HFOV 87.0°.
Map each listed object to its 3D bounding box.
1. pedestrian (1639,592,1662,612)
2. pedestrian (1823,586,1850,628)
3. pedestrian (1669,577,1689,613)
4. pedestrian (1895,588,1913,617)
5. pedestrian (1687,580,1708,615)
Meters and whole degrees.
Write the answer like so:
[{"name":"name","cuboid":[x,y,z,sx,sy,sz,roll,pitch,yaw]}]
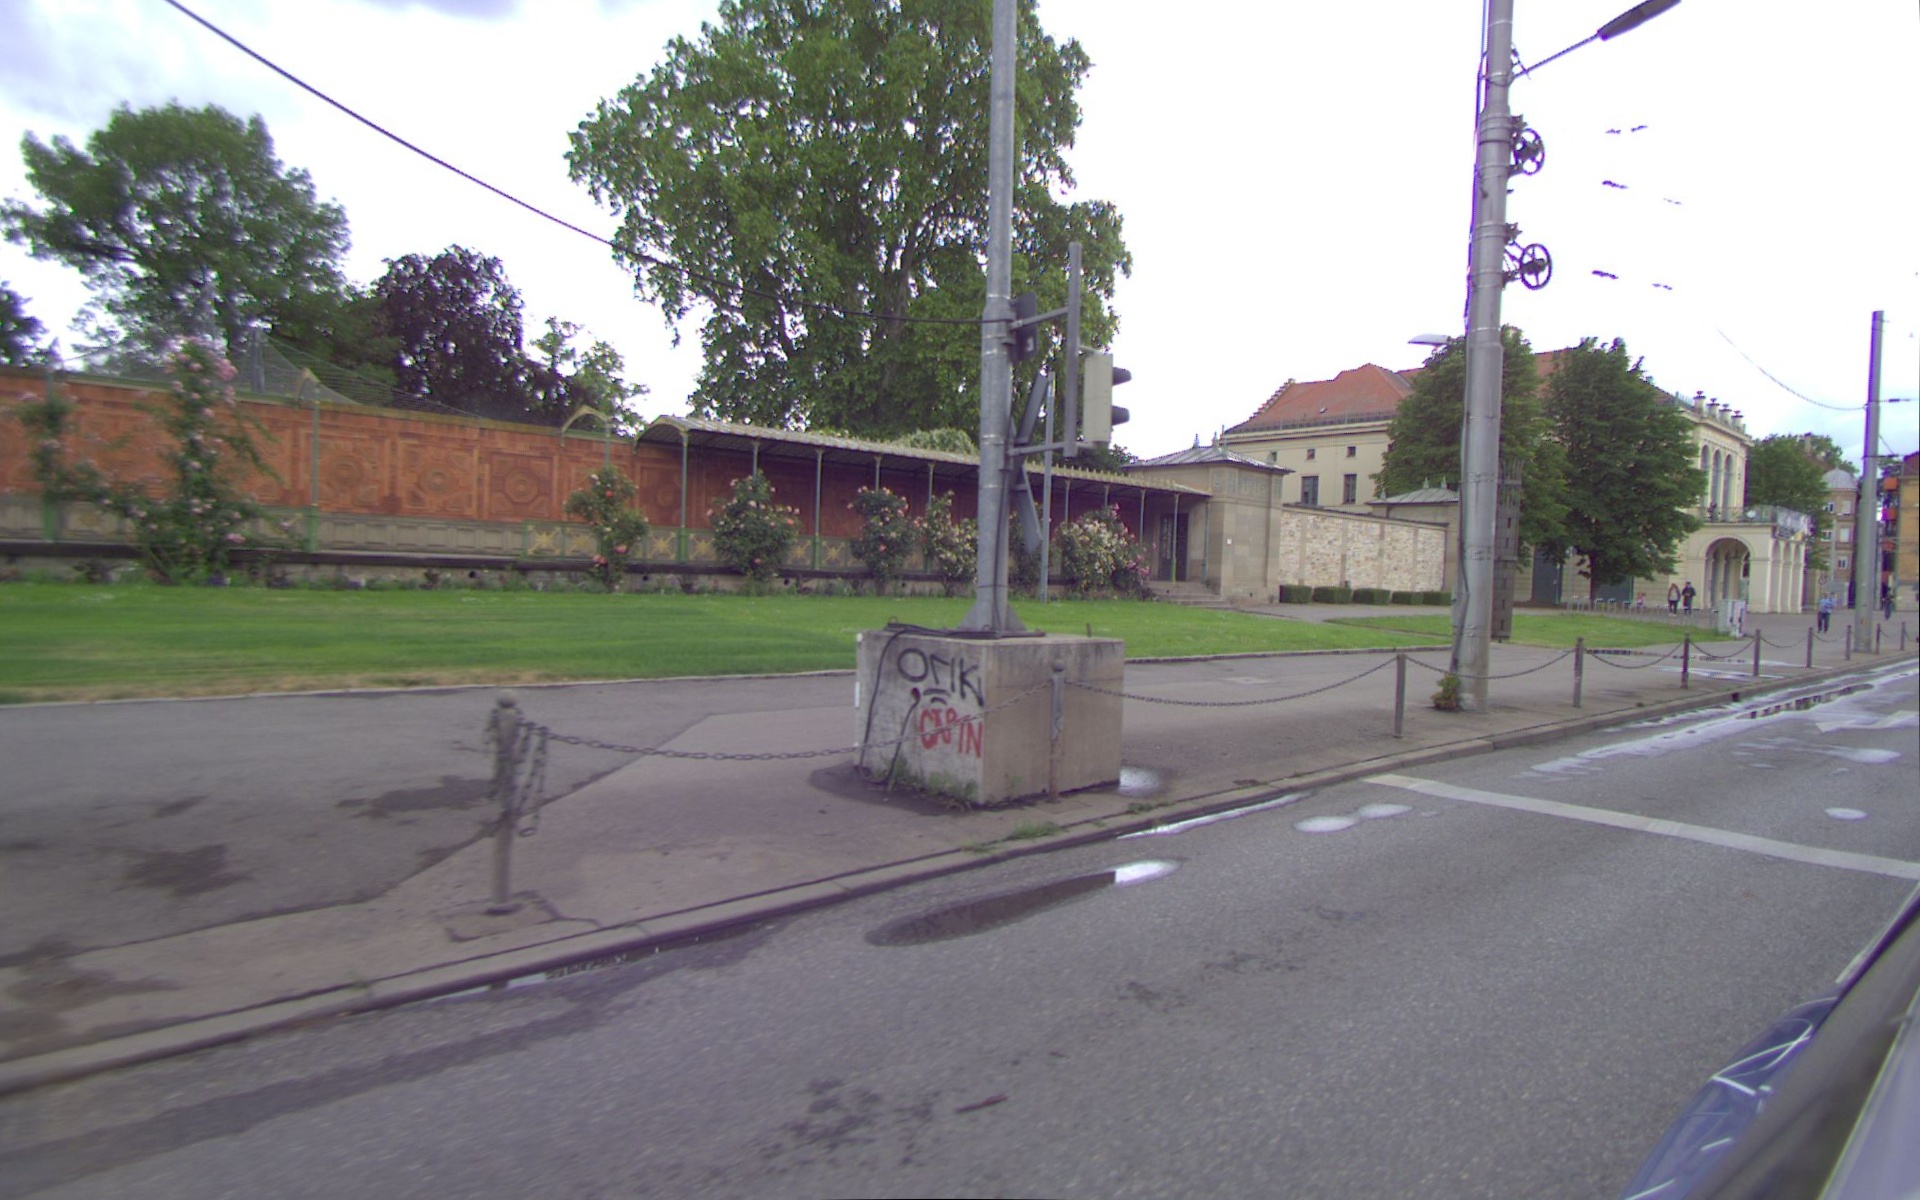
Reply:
[{"name":"pedestrian","cuboid":[35.796,0.089,52.467,0.748,1.013,0.594,2,2,15]},{"name":"pedestrian","cuboid":[38.451,0.313,44.398,0.920,1.789,0.672,1,2,-40]},{"name":"pedestrian","cuboid":[36.445,-0.255,51.299,0.794,1.814,0.596,1,2,-40]},{"name":"pedestrian","cuboid":[59.467,0.134,63.747,0.920,1.789,0.672,1,2,-40]},{"name":"pedestrian","cuboid":[36.938,-0.118,50.677,0.776,1.720,0.597,1,2,-40]}]
